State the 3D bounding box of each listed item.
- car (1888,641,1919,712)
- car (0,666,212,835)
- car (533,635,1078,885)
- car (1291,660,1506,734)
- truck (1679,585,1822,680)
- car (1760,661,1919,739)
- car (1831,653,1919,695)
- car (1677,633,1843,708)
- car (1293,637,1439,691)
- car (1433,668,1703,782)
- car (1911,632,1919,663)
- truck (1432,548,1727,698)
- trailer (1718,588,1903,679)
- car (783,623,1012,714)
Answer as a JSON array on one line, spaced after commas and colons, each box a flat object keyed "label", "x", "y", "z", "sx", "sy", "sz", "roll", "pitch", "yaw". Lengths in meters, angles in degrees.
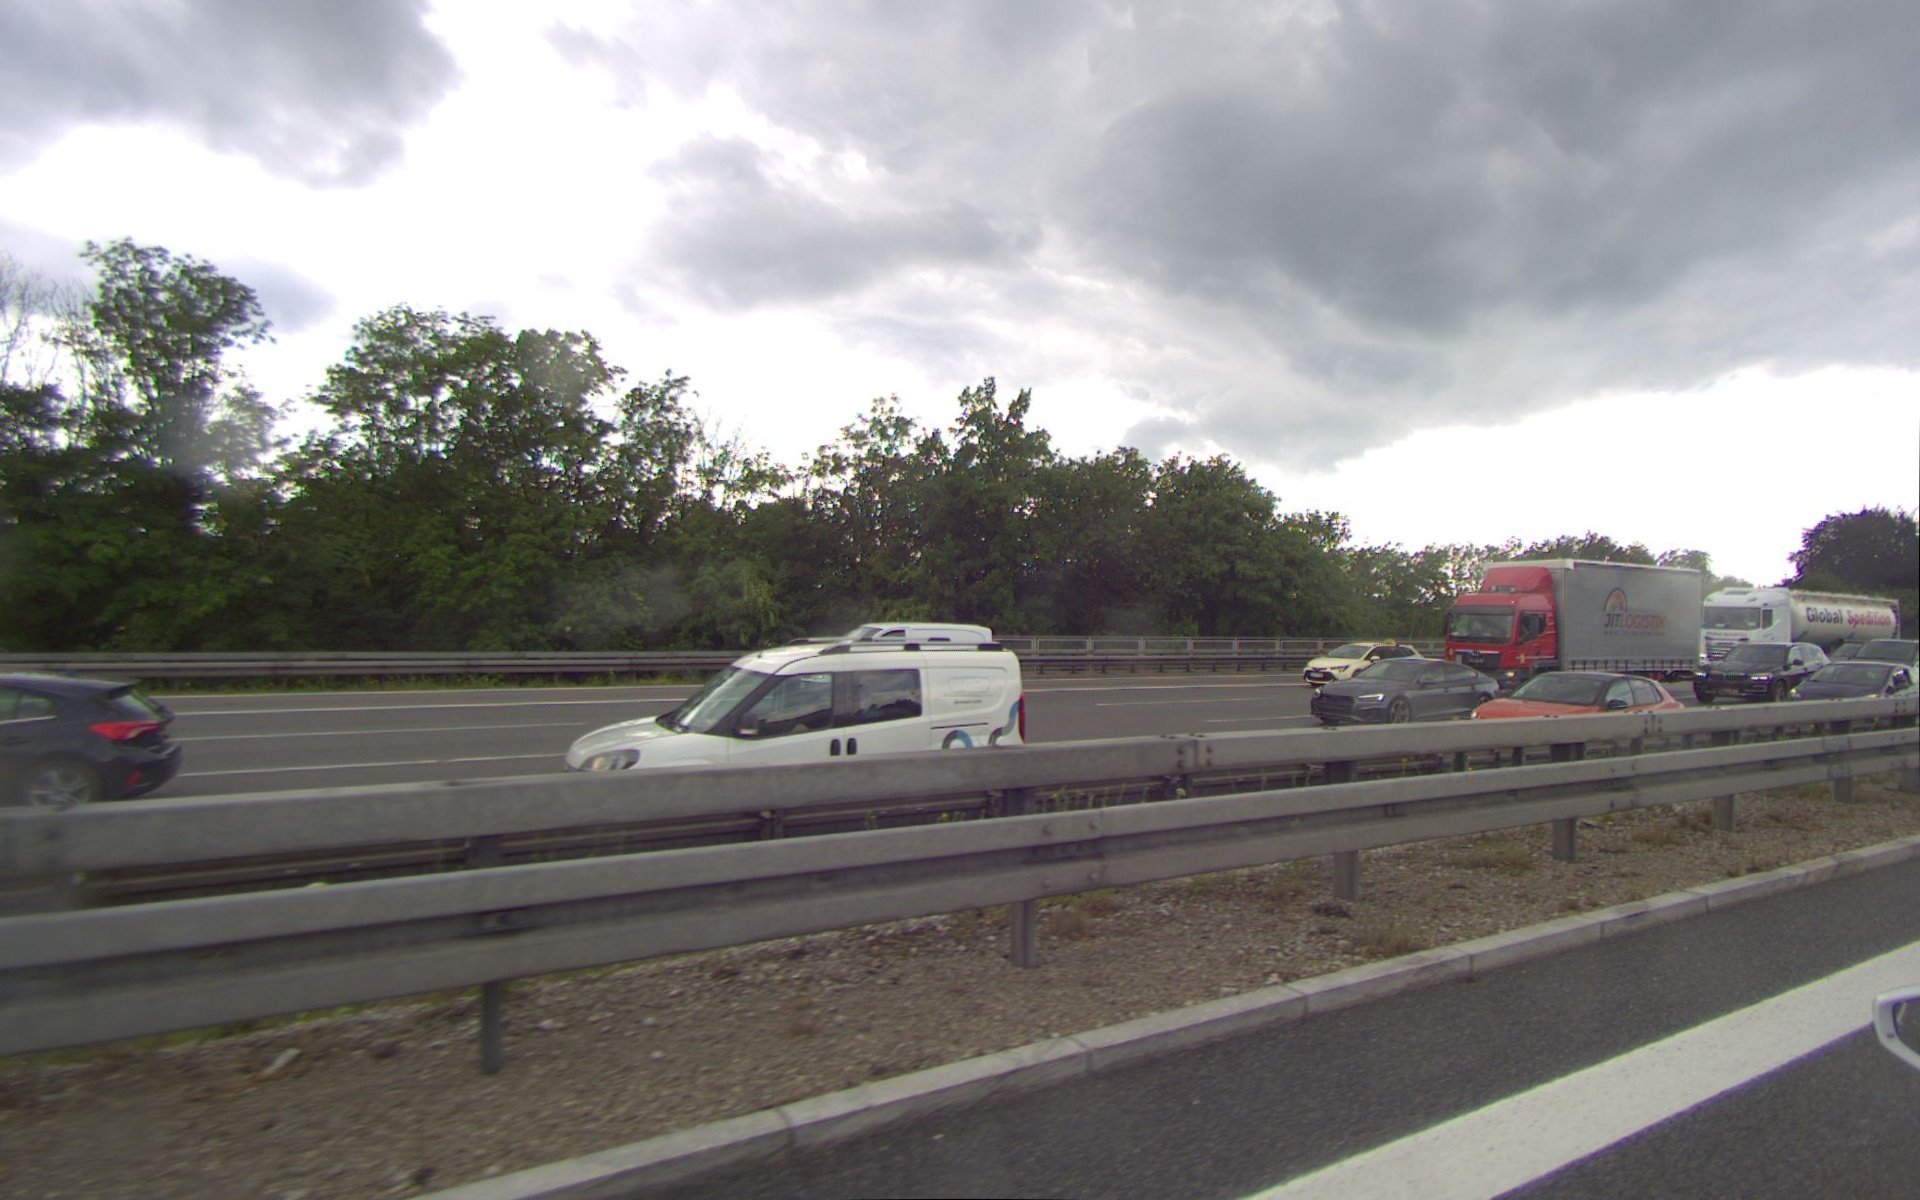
[{"label": "car", "x": 27.433, "y": 2.044, "z": 27.194, "sx": 5.775, "sy": 1.824, "sz": 1.884, "roll": 2, "pitch": -2, "yaw": -31}, {"label": "car", "x": -10.144, "y": 1.436, "z": 9.725, "sx": 4.425, "sy": 1.443, "sz": 1.809, "roll": 2, "pitch": 0, "yaw": -30}, {"label": "car", "x": -1.406, "y": 1.372, "z": 10.175, "sx": 5.163, "sy": 1.978, "sz": 1.809, "roll": 2, "pitch": -2, "yaw": -31}, {"label": "car", "x": 9.263, "y": 1.958, "z": 21.127, "sx": 4.528, "sy": 1.314, "sz": 1.884, "roll": 2, "pitch": -2, "yaw": -31}, {"label": "truck", "x": 36.495, "y": 1.503, "z": 46.343, "sx": 6.455, "sy": 4.105, "sz": 3.010, "roll": 2, "pitch": -1, "yaw": -30}, {"label": "car", "x": 20.181, "y": 2.184, "z": 22.704, "sx": 4.427, "sy": 1.508, "sz": 1.884, "roll": 2, "pitch": -2, "yaw": -31}, {"label": "car", "x": 32.106, "y": 2.529, "z": 34.866, "sx": 4.202, "sy": 1.314, "sz": 1.614, "roll": 2, "pitch": -2, "yaw": -31}, {"label": "car", "x": 23.163, "y": 1.981, "z": 29.027, "sx": 5.521, "sy": 1.988, "sz": 1.885, "roll": 2, "pitch": -2, "yaw": -30}, {"label": "car", "x": 13.197, "y": 2.037, "z": 32.547, "sx": 4.847, "sy": 1.614, "sz": 1.884, "roll": 2, "pitch": -2, "yaw": -31}, {"label": "car", "x": 9.792, "y": 1.896, "z": 16.104, "sx": 4.427, "sy": 1.480, "sz": 1.884, "roll": 2, "pitch": -2, "yaw": -31}, {"label": "car", "x": 59.098, "y": 2.874, "z": 60.152, "sx": 4.542, "sy": 1.824, "sz": 1.885, "roll": 2, "pitch": -2, "yaw": -30}, {"label": "truck", "x": 20.207, "y": 0.818, "z": 32.312, "sx": 12.152, "sy": 4.167, "sz": 2.784, "roll": 2, "pitch": -1, "yaw": -31}, {"label": "trailer", "x": 42.432, "y": 1.689, "z": 49.912, "sx": 12.986, "sy": 4.085, "sz": 2.993, "roll": 2, "pitch": -1, "yaw": -31}, {"label": "car", "x": -1.408, "y": 1.555, "z": 23.596, "sx": 5.078, "sy": 1.937, "sz": 1.885, "roll": 2, "pitch": -2, "yaw": -30}]
